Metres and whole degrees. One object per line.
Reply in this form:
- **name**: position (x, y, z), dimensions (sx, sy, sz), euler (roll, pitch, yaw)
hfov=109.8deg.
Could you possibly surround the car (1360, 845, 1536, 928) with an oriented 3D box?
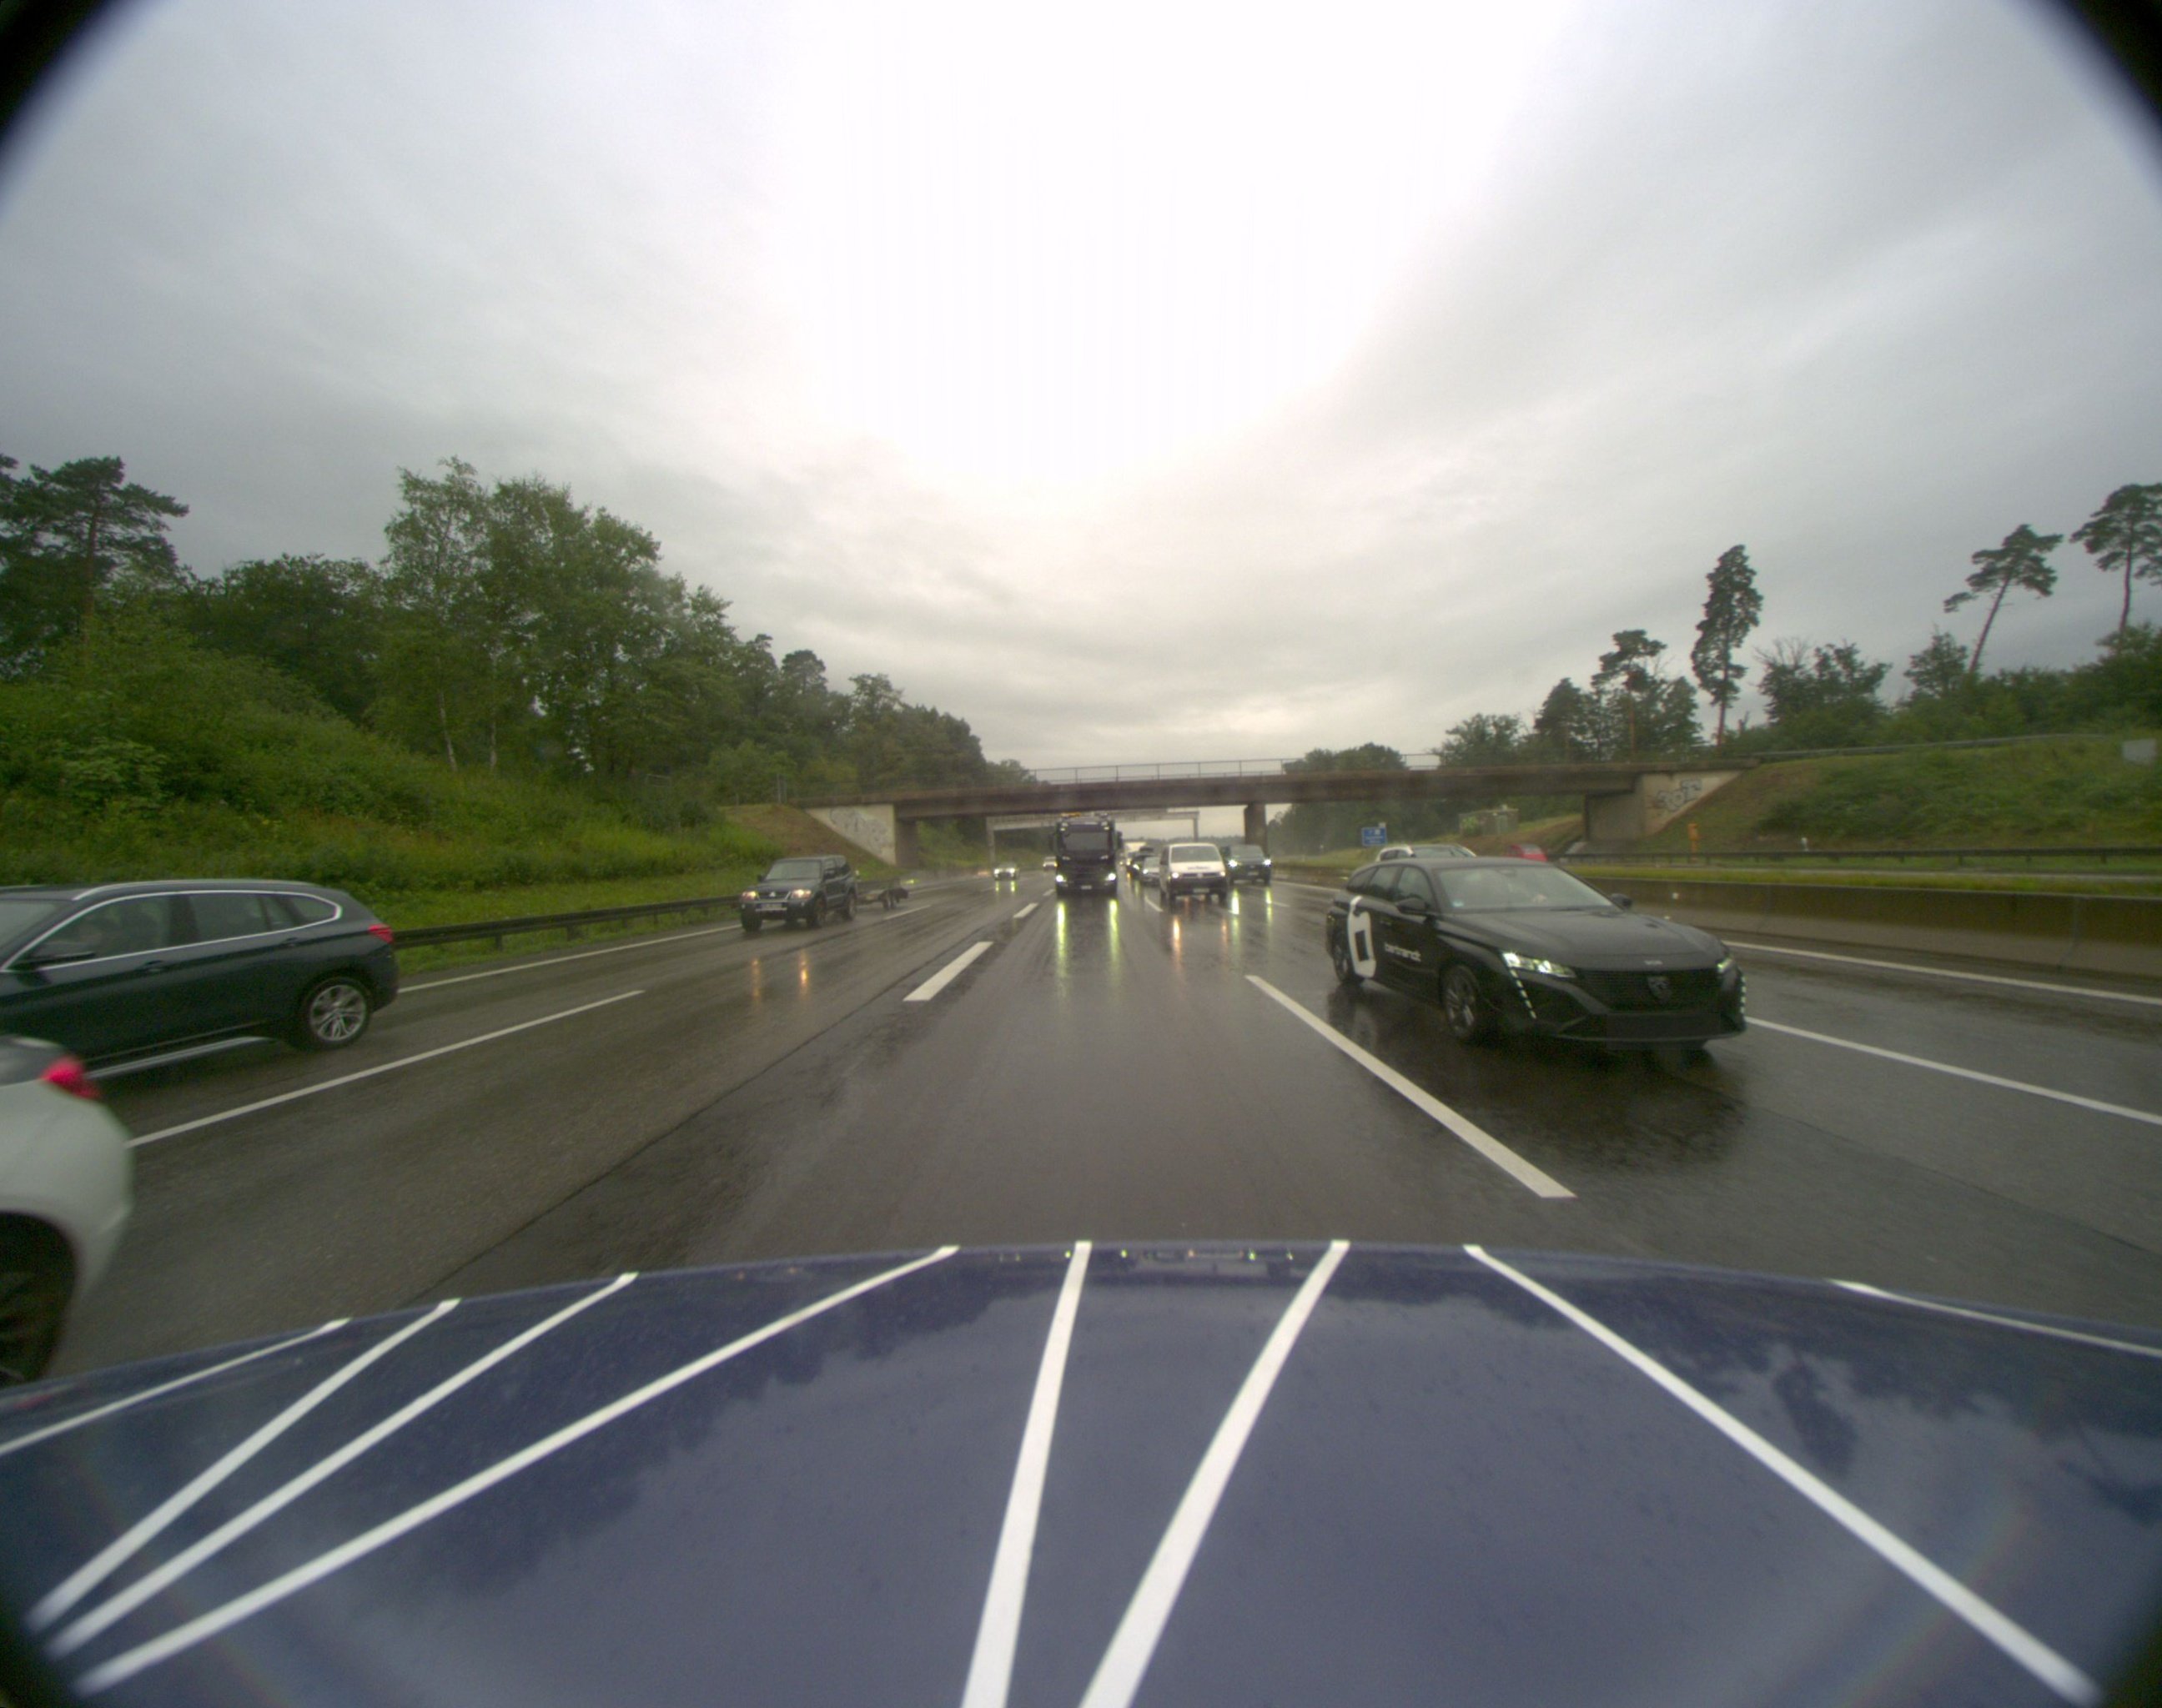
- **car**: position (8.042, 0.637, 17.171), dimensions (1.850, 1.582, 4.466), euler (-2, 0, 1)

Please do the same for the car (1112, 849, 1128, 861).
- **car**: position (5.341, 0.160, 104.636), dimensions (1.995, 1.551, 4.767), euler (-2, 0, 2)

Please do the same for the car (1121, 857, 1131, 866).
- **car**: position (10.032, 1.624, 170.605), dimensions (1.999, 2.002, 3.999), euler (-2, 0, 0)

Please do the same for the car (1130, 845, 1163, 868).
- **car**: position (4.663, 0.175, 54.745), dimensions (1.995, 1.551, 4.767), euler (-2, 0, 2)

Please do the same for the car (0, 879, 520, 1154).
- **car**: position (-7.734, 1.123, 6.627), dimensions (1.995, 1.574, 4.767), euler (-2, 0, 2)

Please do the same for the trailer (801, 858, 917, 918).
- **trailer**: position (-7.342, 1.048, 25.784), dimensions (2.248, 1.704, 5.082), euler (-2, 0, 2)

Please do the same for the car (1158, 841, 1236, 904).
- **car**: position (3.850, 0.570, 26.027), dimensions (1.995, 1.869, 4.767), euler (-2, 0, 1)

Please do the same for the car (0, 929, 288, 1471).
- **car**: position (-3.970, 1.022, 0.592), dimensions (1.894, 1.417, 4.483), euler (-2, 0, 1)

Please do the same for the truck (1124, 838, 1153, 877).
- **truck**: position (6.133, 0.383, 81.421), dimensions (2.521, 3.941, 6.994), euler (-2, 0, 1)

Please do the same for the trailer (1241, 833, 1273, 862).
- **trailer**: position (30.827, -1.144, 133.663), dimensions (3.213, 4.785, 13.349), euler (-2, 0, 4)

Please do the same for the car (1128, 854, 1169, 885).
- **car**: position (3.620, 0.806, 41.199), dimensions (1.850, 1.496, 4.466), euler (-2, 0, 1)

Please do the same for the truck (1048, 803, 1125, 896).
- **truck**: position (0.379, -0.246, 35.236), dimensions (2.879, 3.528, 10.911), euler (-2, 1, 2)

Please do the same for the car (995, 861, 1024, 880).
- **car**: position (-5.860, 1.325, 62.430), dimensions (1.795, 1.399, 4.228), euler (-2, 0, 2)

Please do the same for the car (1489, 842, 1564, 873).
- **car**: position (24.560, 0.181, 42.085), dimensions (1.850, 1.582, 3.944), euler (-2, 0, 1)

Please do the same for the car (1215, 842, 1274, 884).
- **car**: position (8.255, 0.408, 38.845), dimensions (1.996, 1.932, 5.242), euler (-2, 0, 2)

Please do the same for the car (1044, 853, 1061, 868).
- **car**: position (-3.816, 0.815, 102.965), dimensions (1.995, 1.910, 4.767), euler (-2, 0, 2)

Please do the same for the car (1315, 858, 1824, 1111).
- **car**: position (3.751, 0.835, 6.999), dimensions (1.850, 1.495, 4.466), euler (-2, 0, 1)
